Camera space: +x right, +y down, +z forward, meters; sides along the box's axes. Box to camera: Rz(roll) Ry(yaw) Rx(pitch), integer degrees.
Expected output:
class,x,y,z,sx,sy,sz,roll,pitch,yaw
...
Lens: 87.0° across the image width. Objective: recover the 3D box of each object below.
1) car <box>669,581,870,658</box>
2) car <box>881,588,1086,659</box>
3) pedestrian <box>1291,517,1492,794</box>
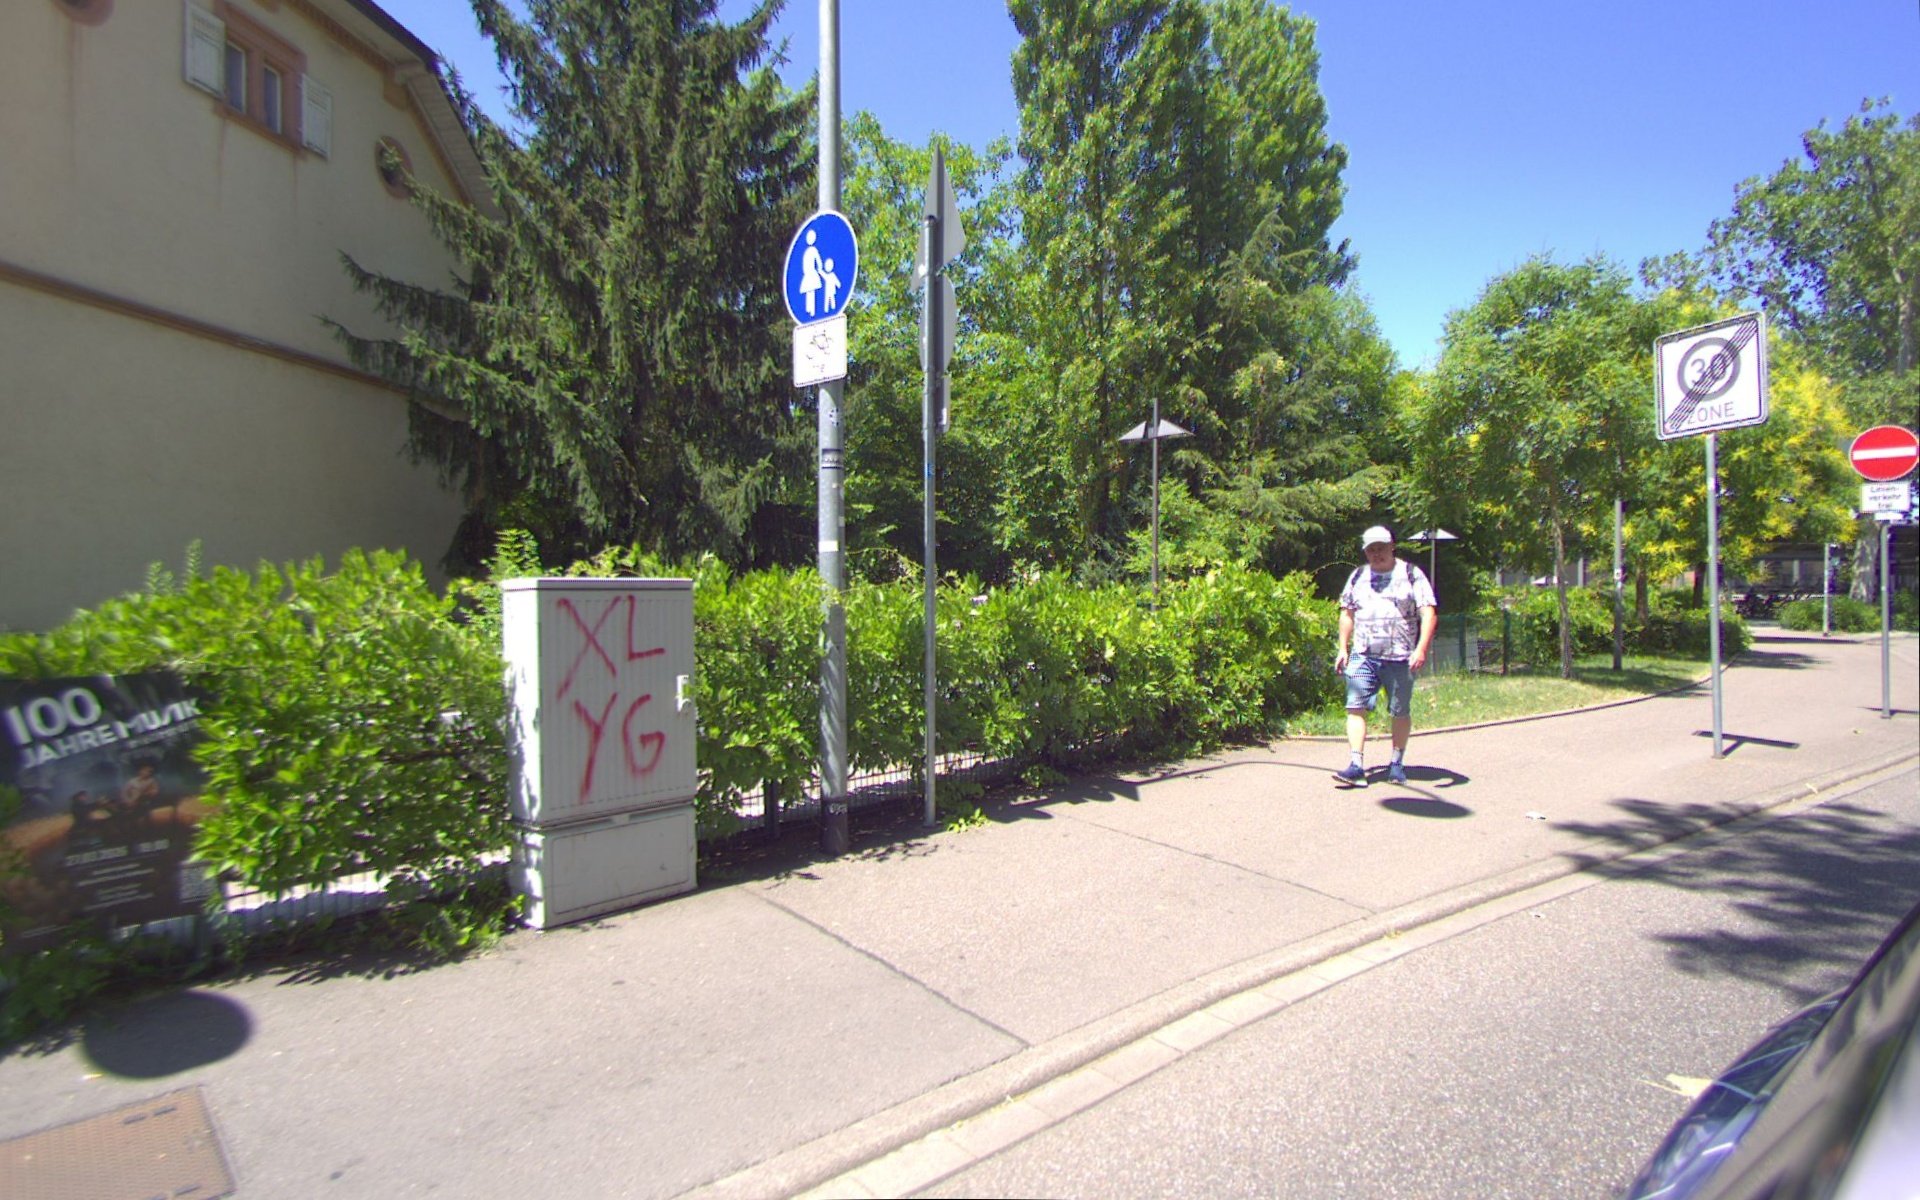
class,x,y,z,sx,sy,sz,roll,pitch,yaw
car,-4.023,0.391,21.513,3.911,1.555,1.648,0,0,15
car,0.580,0.512,22.903,4.428,1.518,1.765,0,0,11
pedestrian,3.032,0.339,7.159,0.897,1.794,0.916,0,2,-30
